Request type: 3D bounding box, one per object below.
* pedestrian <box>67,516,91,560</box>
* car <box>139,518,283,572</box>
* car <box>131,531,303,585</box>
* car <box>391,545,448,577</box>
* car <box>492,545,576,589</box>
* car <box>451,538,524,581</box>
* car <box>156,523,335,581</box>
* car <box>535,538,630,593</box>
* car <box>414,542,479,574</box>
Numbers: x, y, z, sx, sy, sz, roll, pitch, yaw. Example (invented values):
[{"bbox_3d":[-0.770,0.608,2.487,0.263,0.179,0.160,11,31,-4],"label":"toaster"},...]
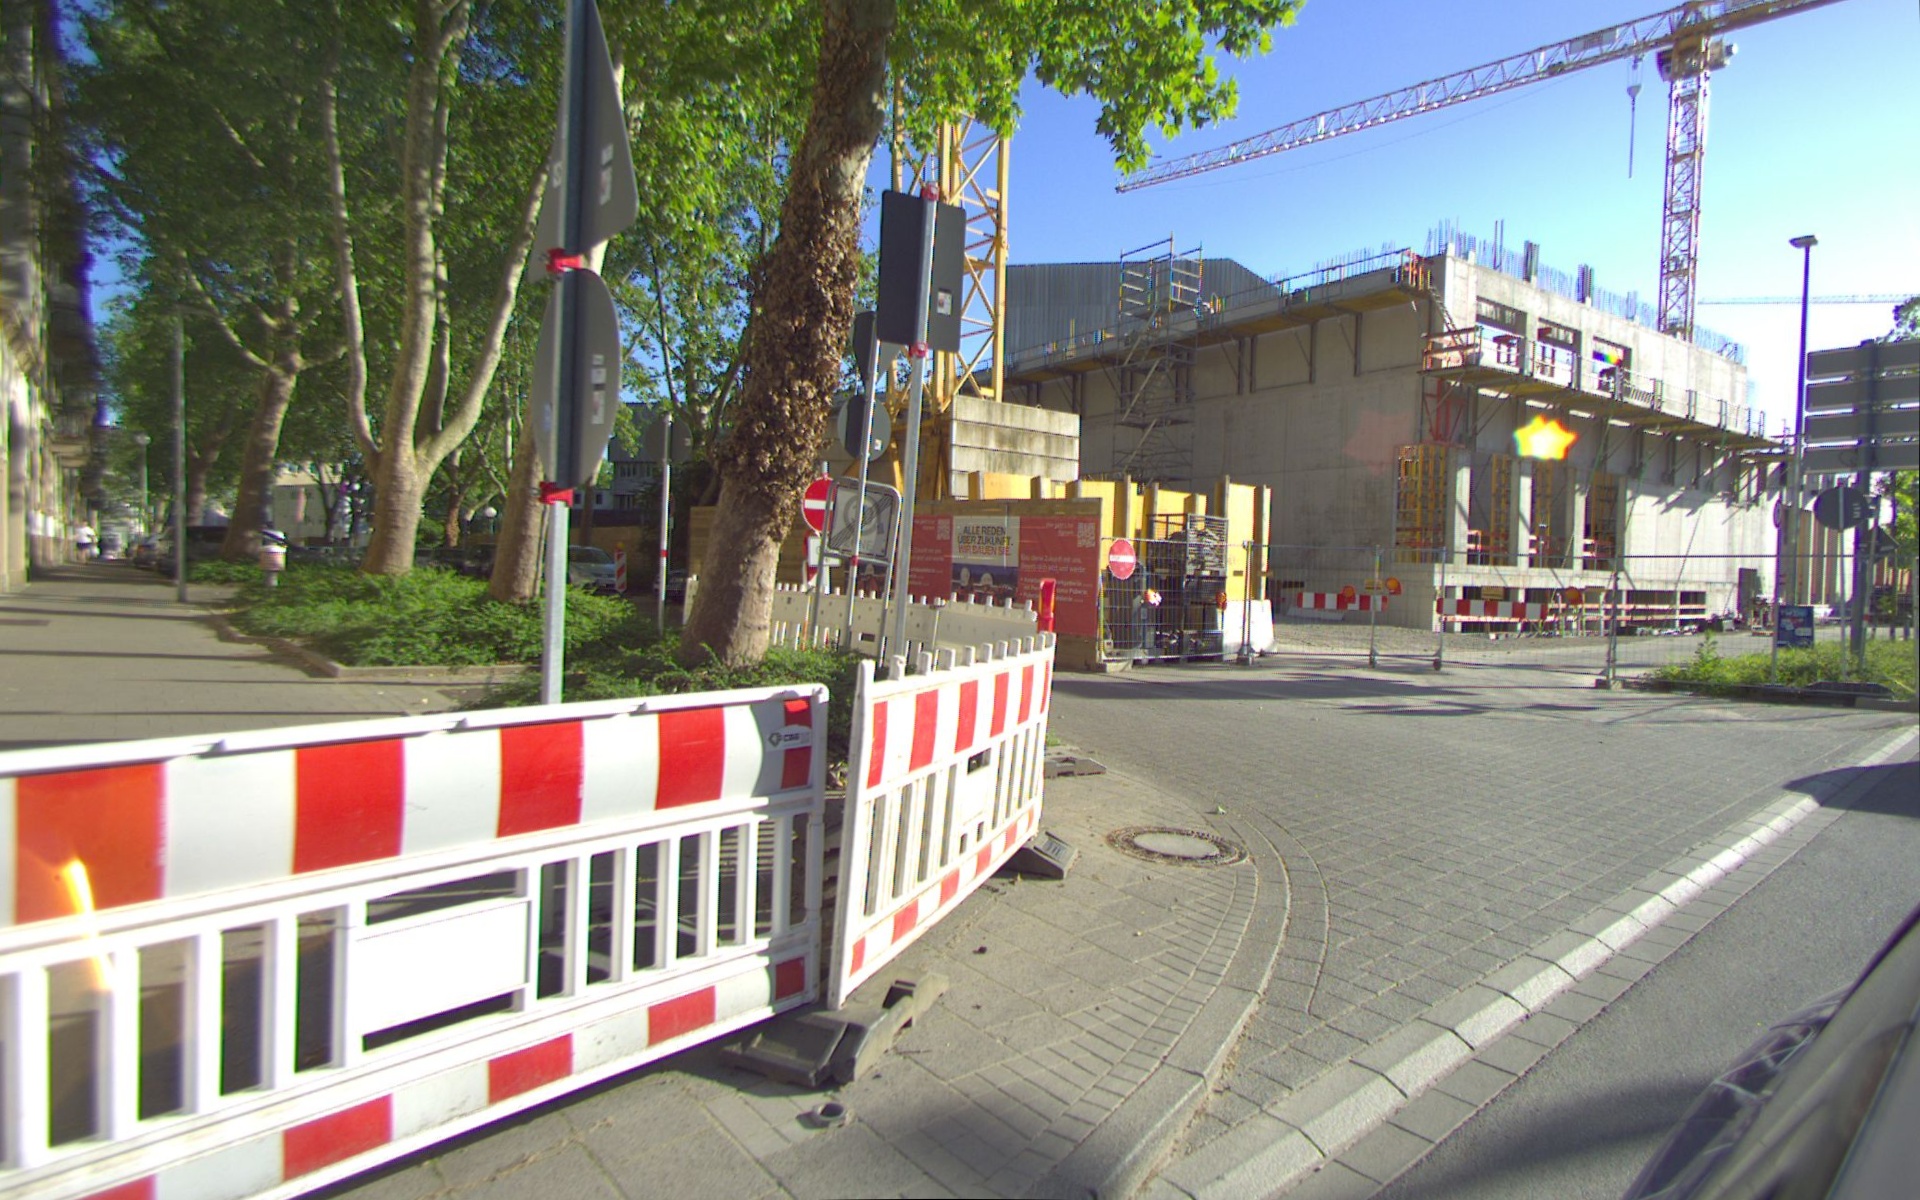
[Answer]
[{"bbox_3d":[-35.523,-2.494,40.822,0.710,1.732,0.806,0,0,-39],"label":"pedestrian"},{"bbox_3d":[-28.415,-2.057,38.435,4.290,1.861,1.998,-1,3,-41],"label":"car"},{"bbox_3d":[-23.550,-1.300,32.157,4.290,1.602,1.870,-1,3,-41],"label":"car"},{"bbox_3d":[-26.154,-1.854,48.907,1.697,1.397,3.996,-1,1,-39],"label":"car"},{"bbox_3d":[-15.004,-1.135,35.556,1.697,1.445,3.996,0,1,-39],"label":"car"},{"bbox_3d":[-18.685,-1.561,39.924,1.697,1.549,3.996,0,0,-39],"label":"car"},{"bbox_3d":[-21.644,-1.426,30.739,4.290,1.602,1.870,-1,3,-41],"label":"car"},{"bbox_3d":[-11.785,-1.089,31.448,1.695,1.548,4.000,1,3,-36],"label":"car"},{"bbox_3d":[-22.031,-1.752,43.347,1.697,1.284,3.996,0,1,-39],"label":"car"}]
